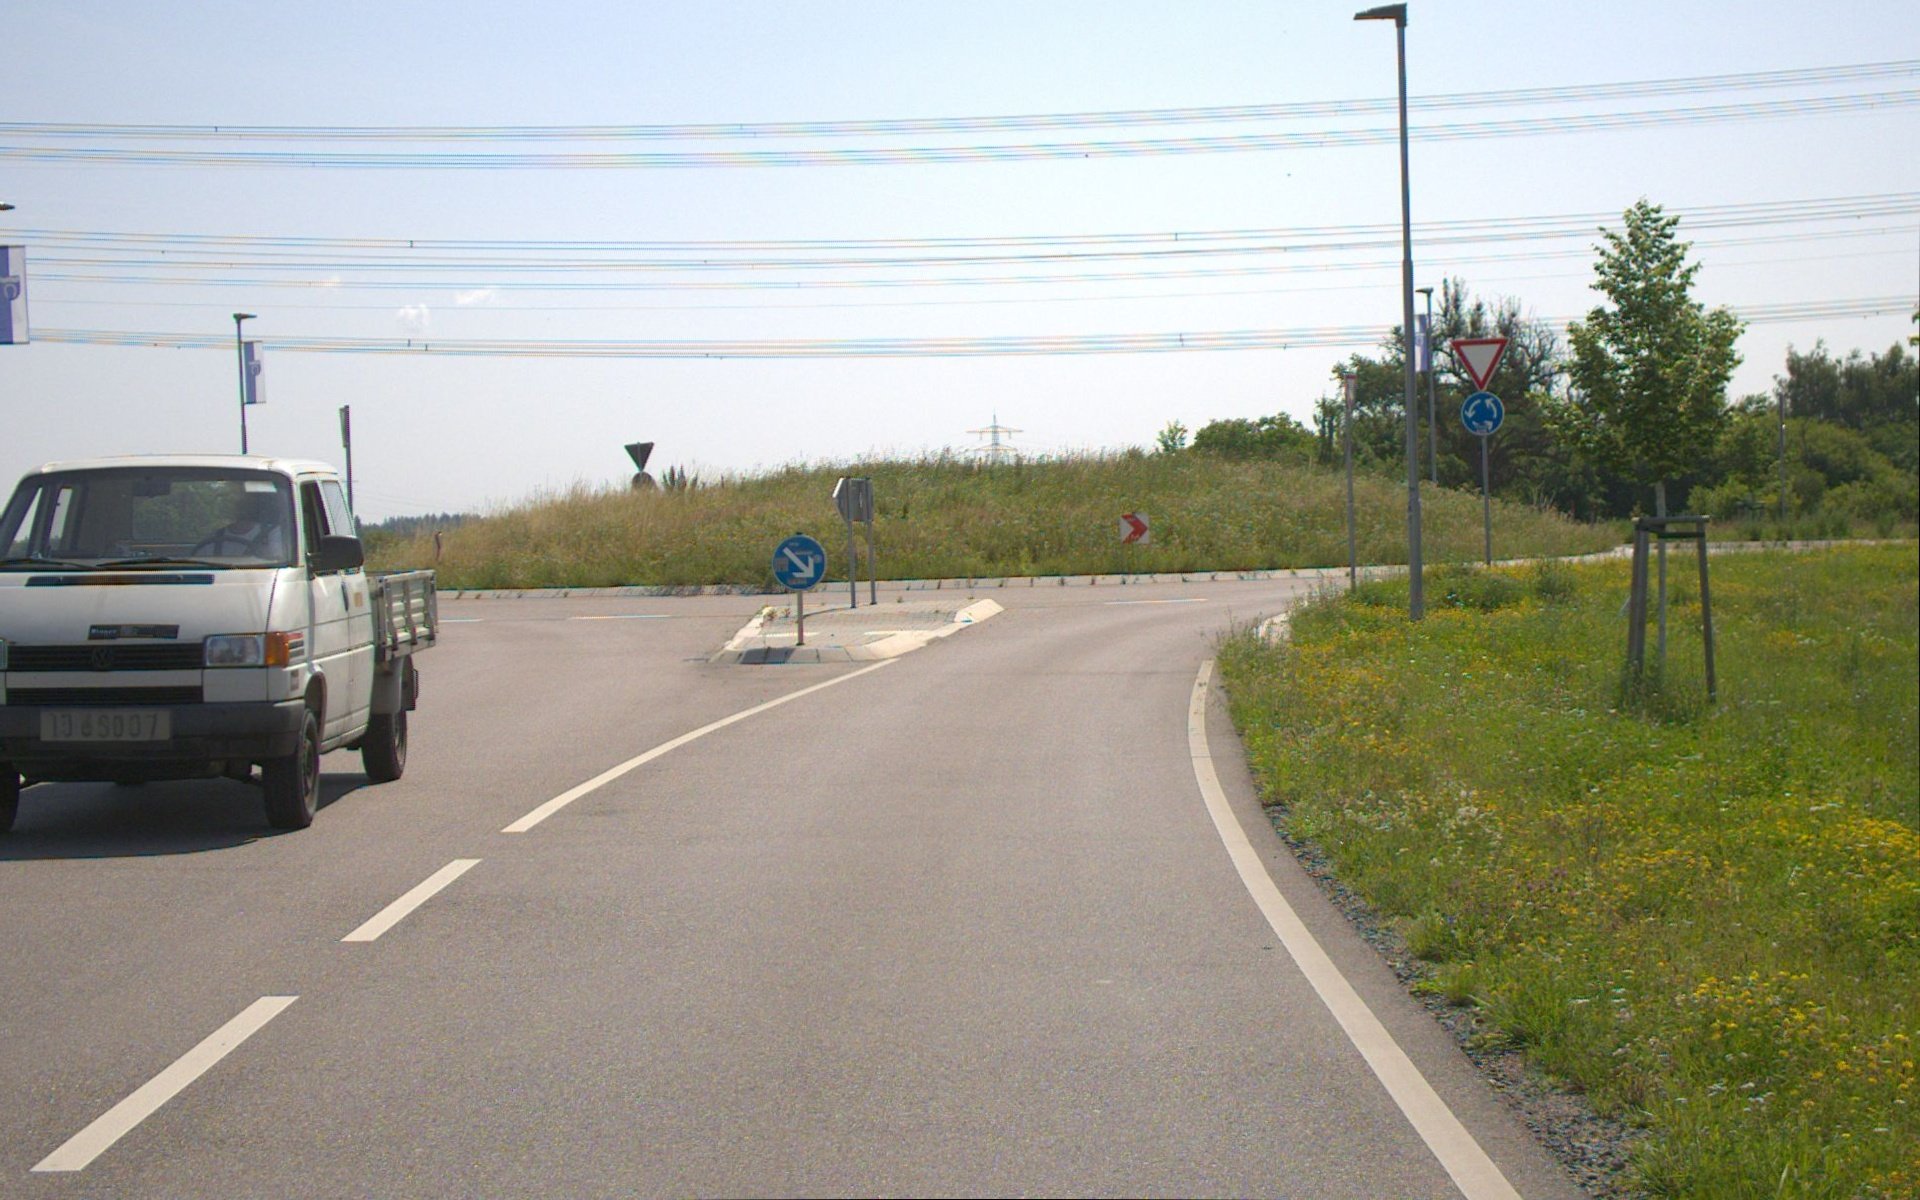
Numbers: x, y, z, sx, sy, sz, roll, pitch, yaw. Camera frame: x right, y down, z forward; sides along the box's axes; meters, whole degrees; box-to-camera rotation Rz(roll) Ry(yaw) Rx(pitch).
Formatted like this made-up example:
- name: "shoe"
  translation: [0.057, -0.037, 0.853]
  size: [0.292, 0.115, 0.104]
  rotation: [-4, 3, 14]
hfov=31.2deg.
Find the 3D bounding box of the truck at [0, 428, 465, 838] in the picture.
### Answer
- name: "truck"
  translation: [-4.216, 0.079, 19.462]
  size: [1.951, 1.978, 5.644]
  rotation: [0, 2, 0]
